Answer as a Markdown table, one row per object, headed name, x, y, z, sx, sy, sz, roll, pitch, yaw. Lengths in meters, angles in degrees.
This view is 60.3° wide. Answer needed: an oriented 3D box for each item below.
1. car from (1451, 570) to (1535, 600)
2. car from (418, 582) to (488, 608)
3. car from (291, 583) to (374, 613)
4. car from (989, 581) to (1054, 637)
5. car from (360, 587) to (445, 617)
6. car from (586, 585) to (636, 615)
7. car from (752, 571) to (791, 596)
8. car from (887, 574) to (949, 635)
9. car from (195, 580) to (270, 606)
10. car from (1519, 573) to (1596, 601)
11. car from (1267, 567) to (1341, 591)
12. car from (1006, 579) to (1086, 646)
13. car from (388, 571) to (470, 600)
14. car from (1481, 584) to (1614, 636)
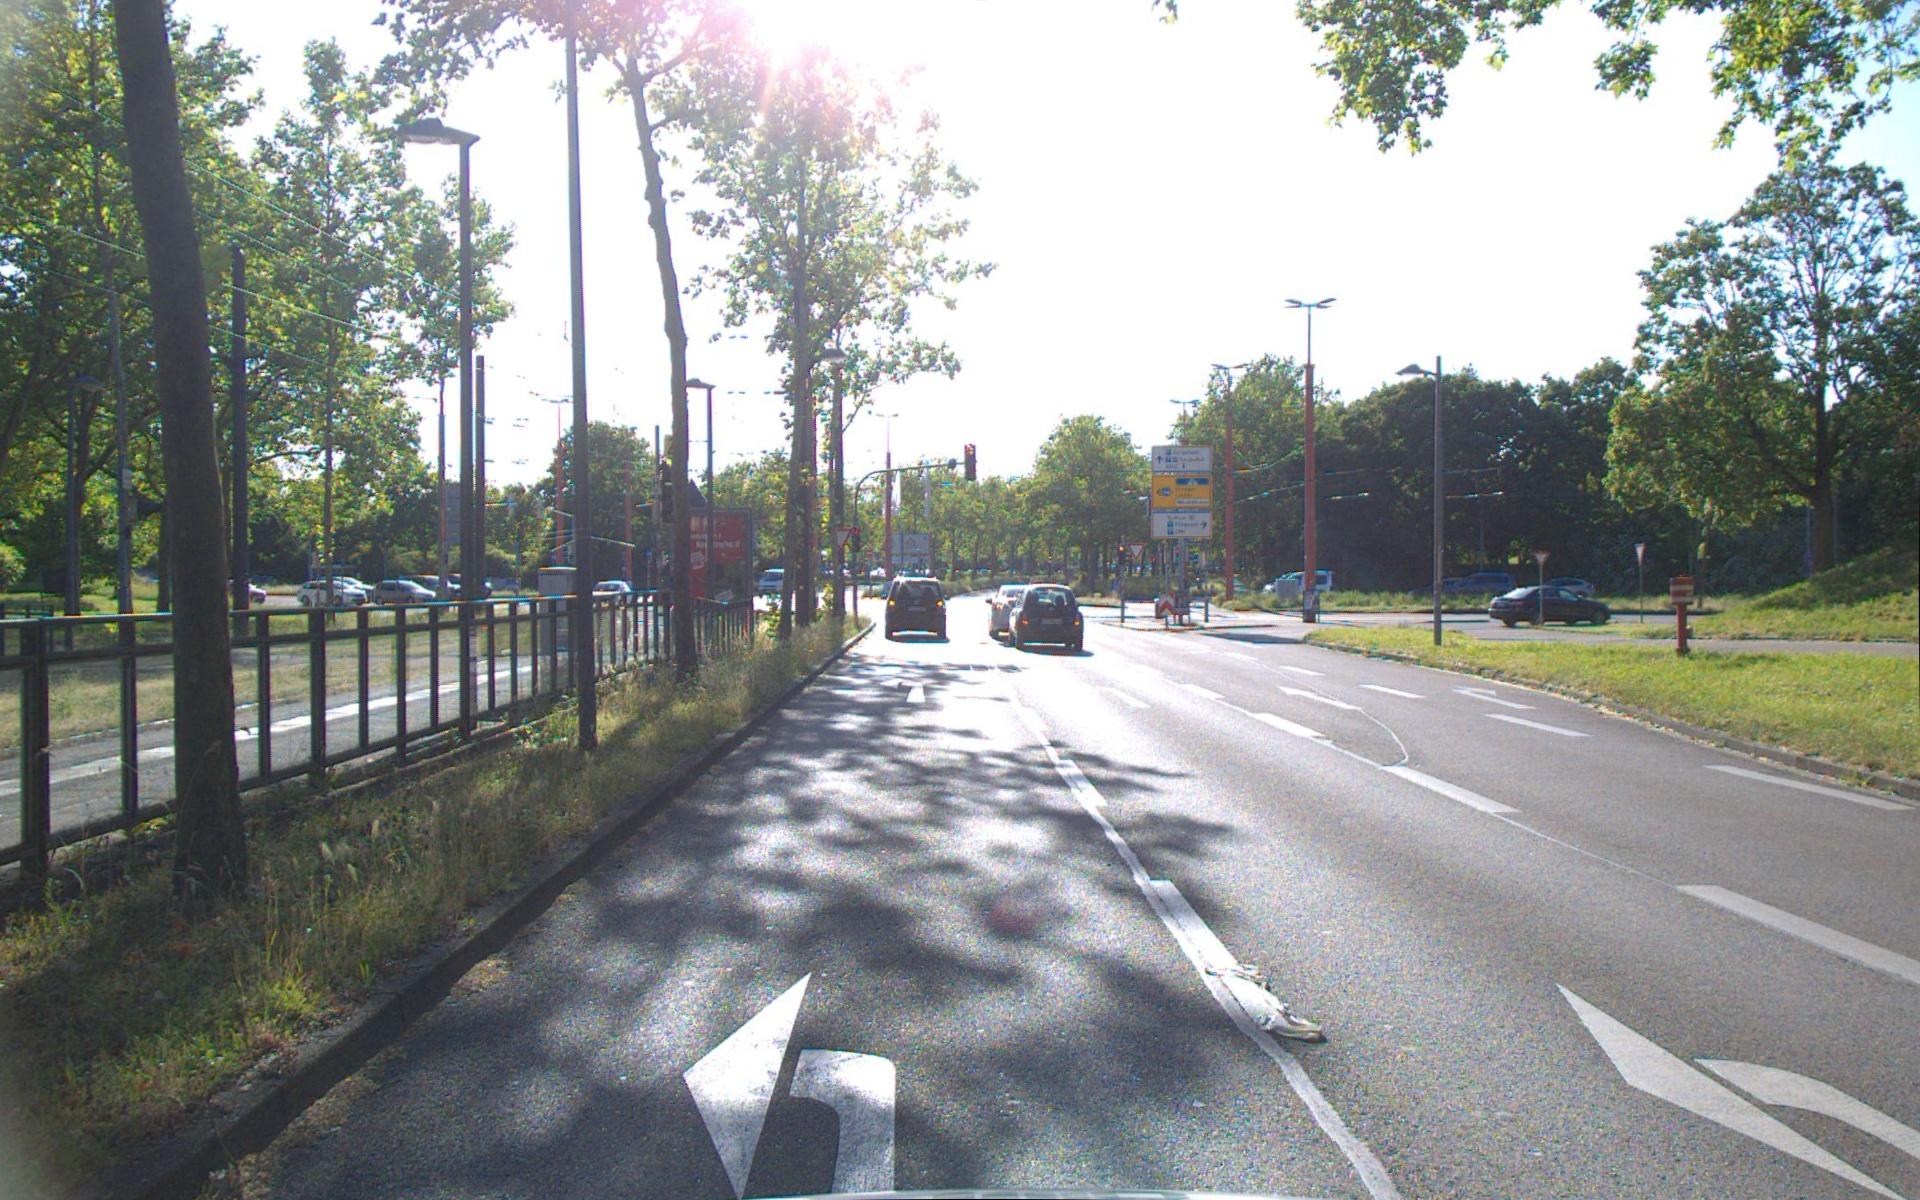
| name | x | y | z | sx | sy | sz | roll | pitch | yaw |
| --- | --- | --- | --- | --- | --- | --- | --- | --- | --- |
| car | 29.616 | -0.849 | 91.879 | 4.264 | 1.586 | 1.871 | 1 | 0 | 23 |
| car | -32.644 | -0.315 | 106.576 | 3.903 | 1.649 | 1.901 | -1 | 1 | 17 |
| car | -37.608 | -0.121 | 99.135 | 4.391 | 1.639 | 1.901 | -1 | 2 | 17 |
| car | 1.710 | 0.241 | 46.991 | 1.644 | 1.500 | 4.130 | 1 | 0 | -1 |
| car | -32.522 | 0.118 | 96.509 | 4.391 | 1.638 | 1.902 | -1 | 3 | 17 |
| car | -17.977 | -0.024 | 85.334 | 1.597 | 1.475 | 3.720 | 1 | 0 | 3 |
| car | -13.883 | -1.204 | 121.815 | 1.784 | 1.811 | 4.571 | 1 | 0 | 7 |
| car | -1.198 | 0.115 | 46.407 | 1.676 | 1.631 | 3.348 | 0 | 0 | -3 |
| car | -44.625 | -0.421 | 101.433 | 3.949 | 1.461 | 1.817 | -1 | 3 | 17 |
| car | 33.705 | -0.727 | 93.332 | 3.908 | 1.521 | 1.860 | 1 | 0 | 25 |
| car | 20.051 | -1.215 | 96.421 | 3.907 | 1.361 | 1.728 | 1 | 0 | 25 |
| car | 2.051 | 0.272 | 40.436 | 1.606 | 1.520 | 3.502 | 1 | 1 | -3 |
| car | -32.150 | -0.884 | 100.155 | 4.391 | 1.638 | 1.902 | -1 | 3 | 17 |
| car | 22.364 | 0.370 | 63.005 | 4.529 | 1.823 | 1.978 | 1 | 0 | -19 |
